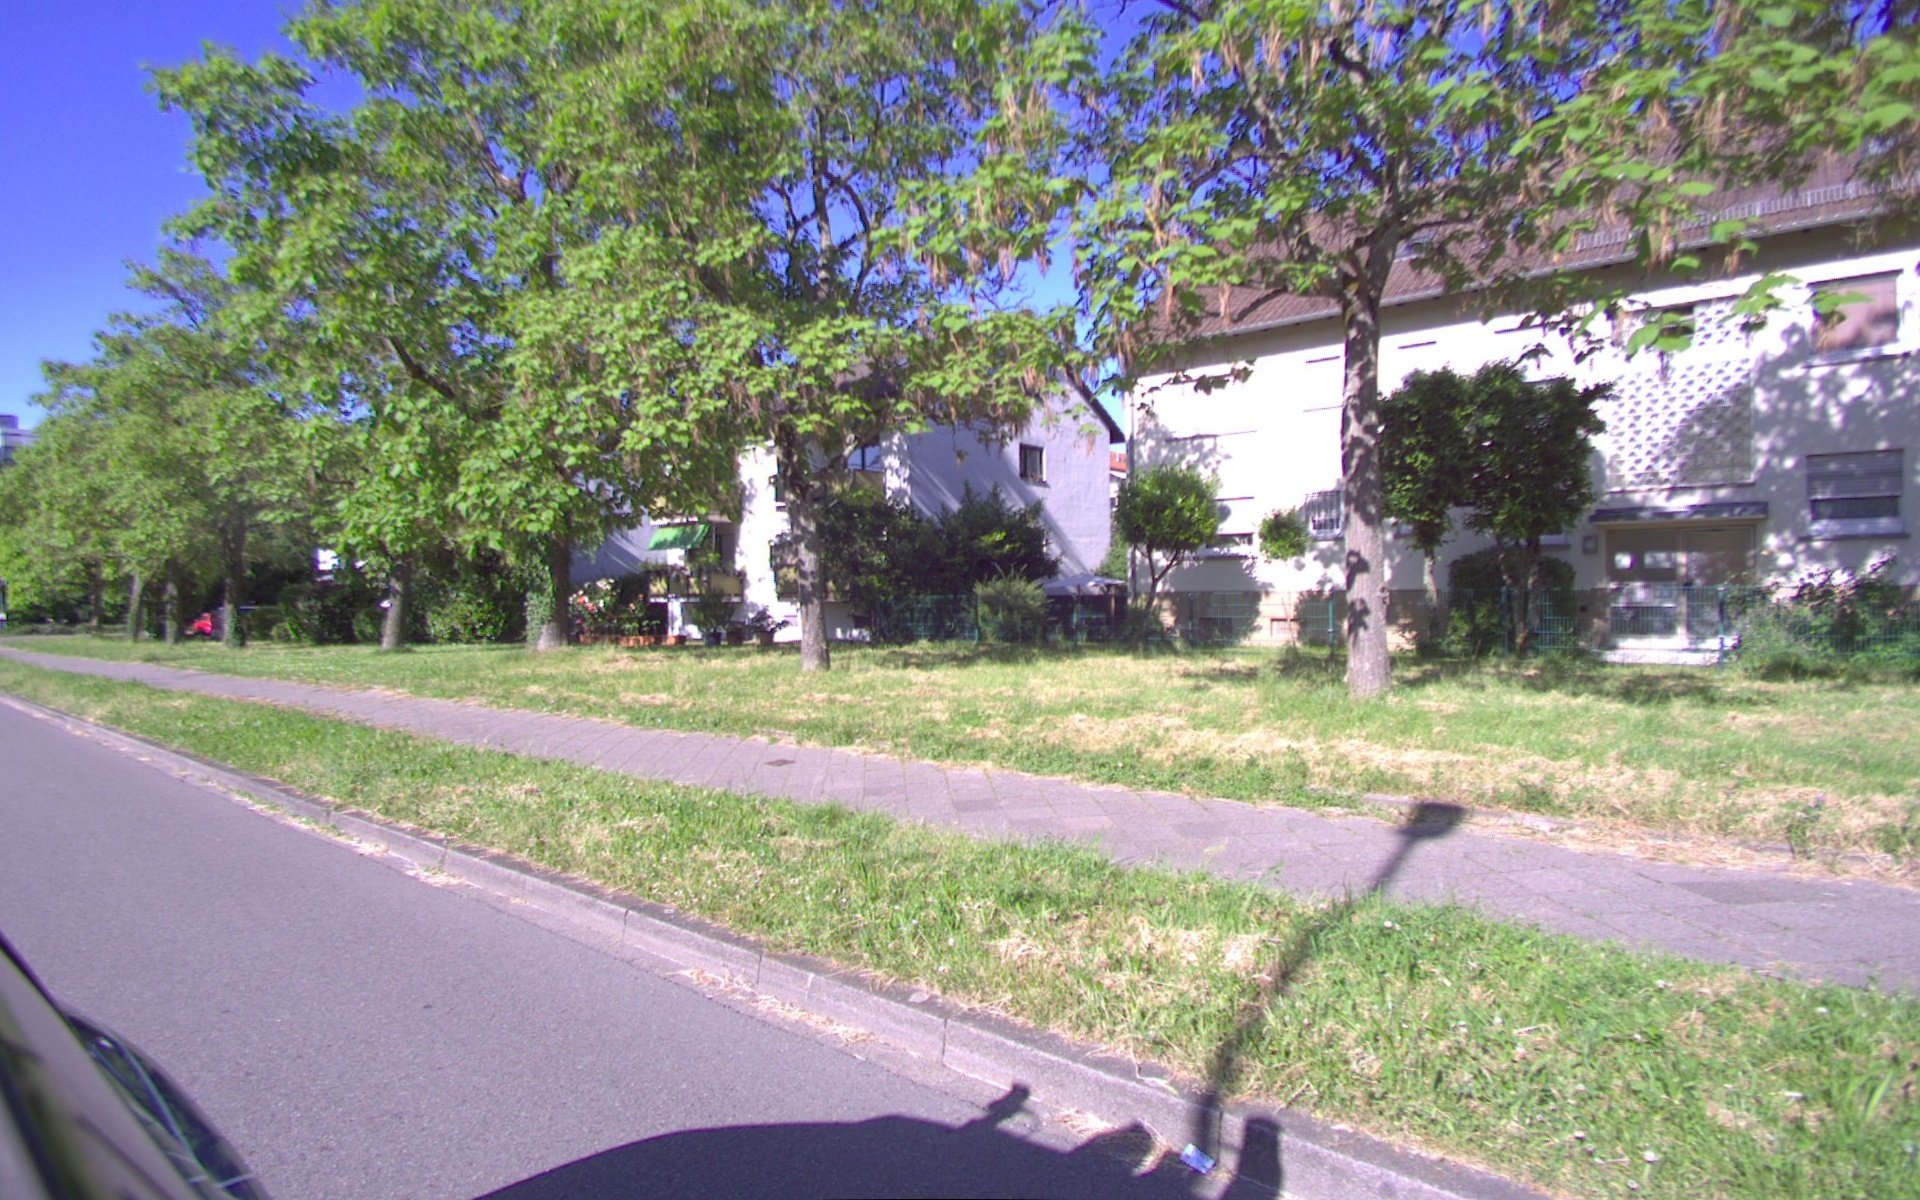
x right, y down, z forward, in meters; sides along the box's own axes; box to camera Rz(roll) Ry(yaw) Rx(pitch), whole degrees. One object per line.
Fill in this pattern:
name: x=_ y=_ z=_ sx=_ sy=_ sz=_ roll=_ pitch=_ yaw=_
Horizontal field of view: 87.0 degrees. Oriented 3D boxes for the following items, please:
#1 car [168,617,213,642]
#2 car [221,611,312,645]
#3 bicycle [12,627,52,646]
car: x=-51.685 y=1.975 z=67.948 sx=3.882 sy=1.498 sz=1.653 roll=1 pitch=1 yaw=40
car: x=-43.593 y=1.742 z=63.647 sx=2.069 sy=1.984 sz=4.402 roll=-3 pitch=-2 yaw=43
bicycle: x=-60.200 y=2.355 z=65.688 sx=1.875 sy=1.161 sz=0.762 roll=0 pitch=3 yaw=-39
